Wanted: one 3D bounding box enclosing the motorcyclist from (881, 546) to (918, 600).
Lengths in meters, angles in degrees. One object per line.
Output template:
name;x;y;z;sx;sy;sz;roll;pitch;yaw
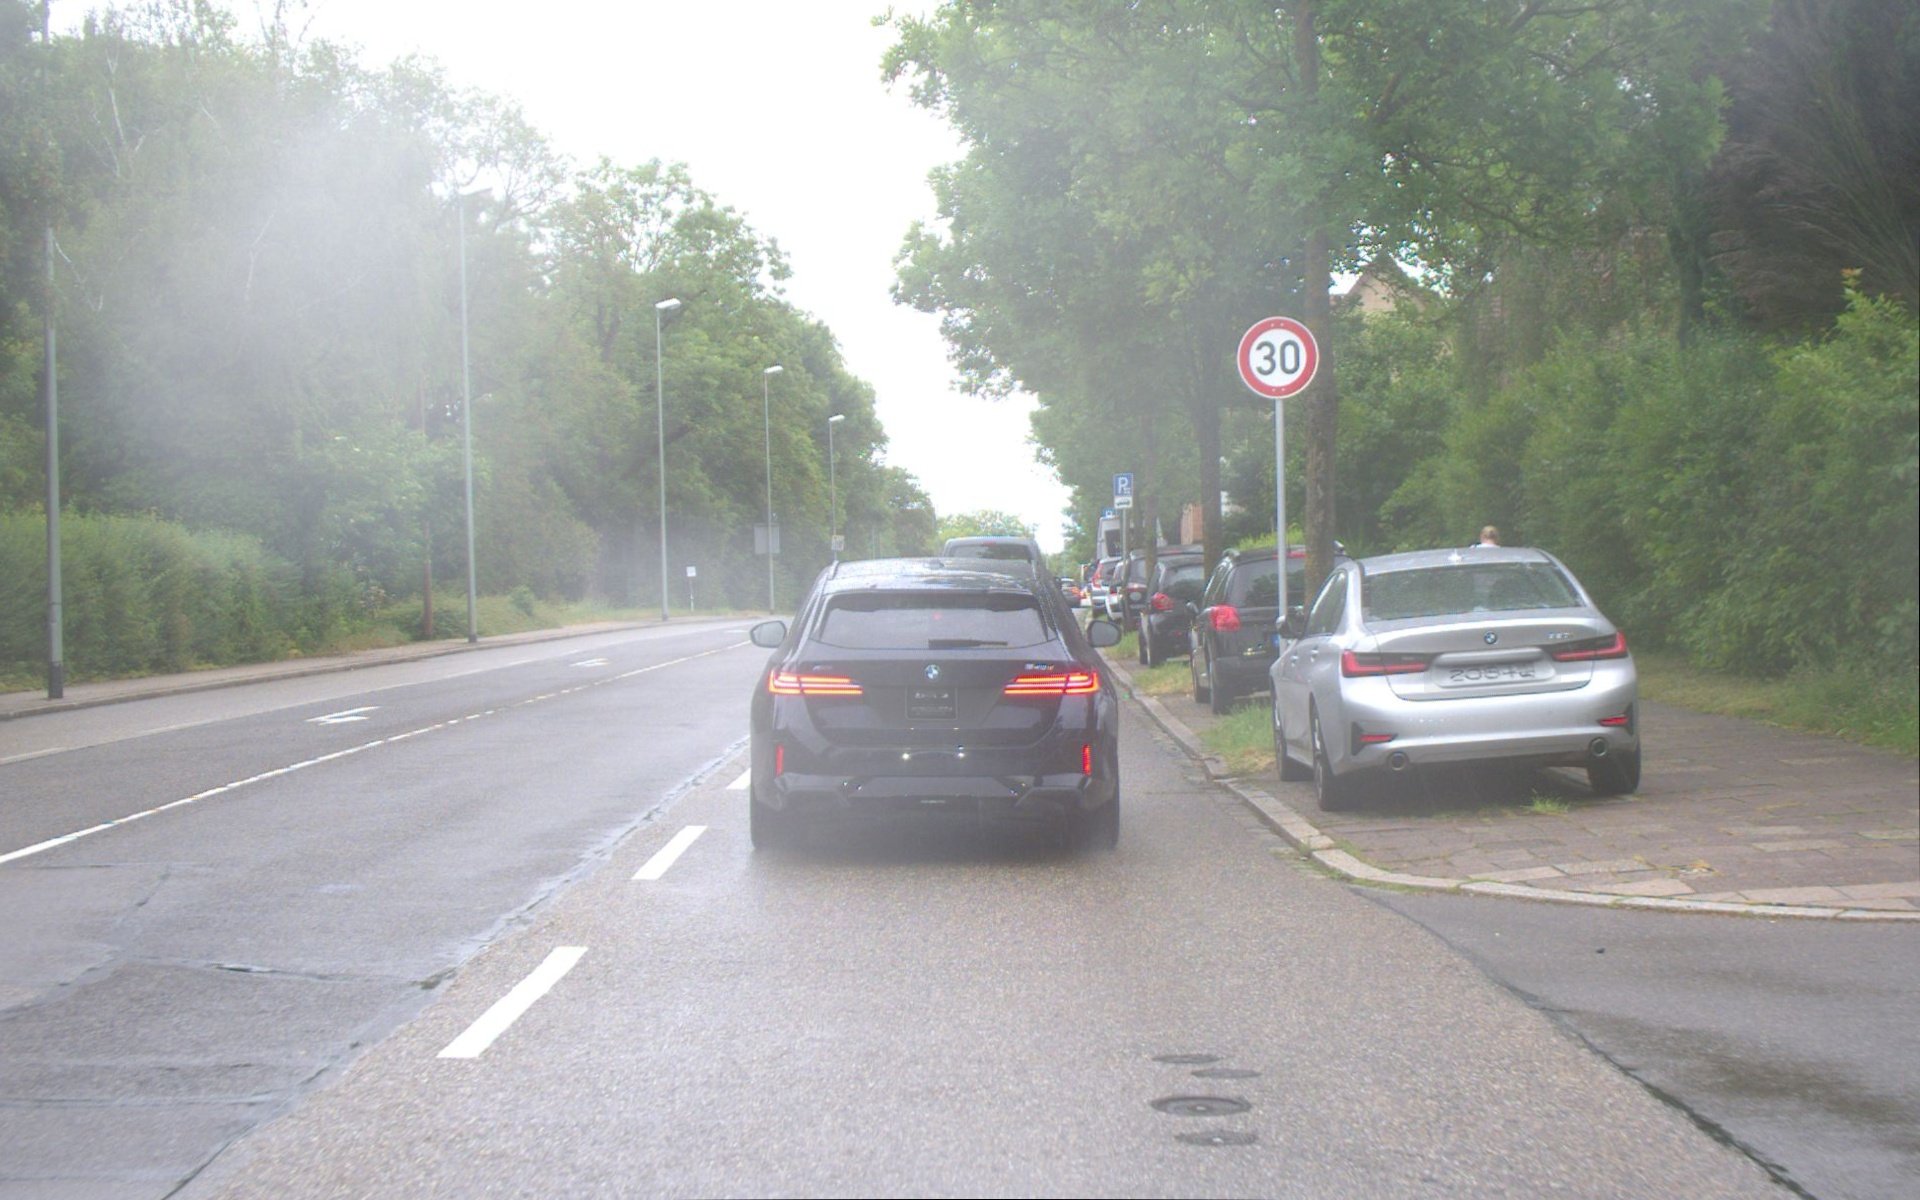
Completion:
motorcyclist;-1.735;-0.779;99.035;1.039;1.562;0.855;1;0;-1

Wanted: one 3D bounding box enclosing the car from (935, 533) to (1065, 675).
car;0.522;0.016;48.137;1.629;1.827;4.000;-2;1;-1

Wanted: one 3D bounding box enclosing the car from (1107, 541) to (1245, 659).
car;2.882;-0.029;46.438;1.589;1.481;3.562;-1;1;0

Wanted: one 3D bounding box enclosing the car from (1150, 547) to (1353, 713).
car;2.734;0.244;32.877;1.589;1.456;3.562;-1;1;0

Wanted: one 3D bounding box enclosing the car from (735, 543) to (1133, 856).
car;-0.131;0.447;18.595;1.897;1.484;4.000;1;1;0

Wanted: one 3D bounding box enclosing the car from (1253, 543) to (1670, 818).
car;2.892;0.402;20.752;1.935;1.437;4.408;-1;1;1
